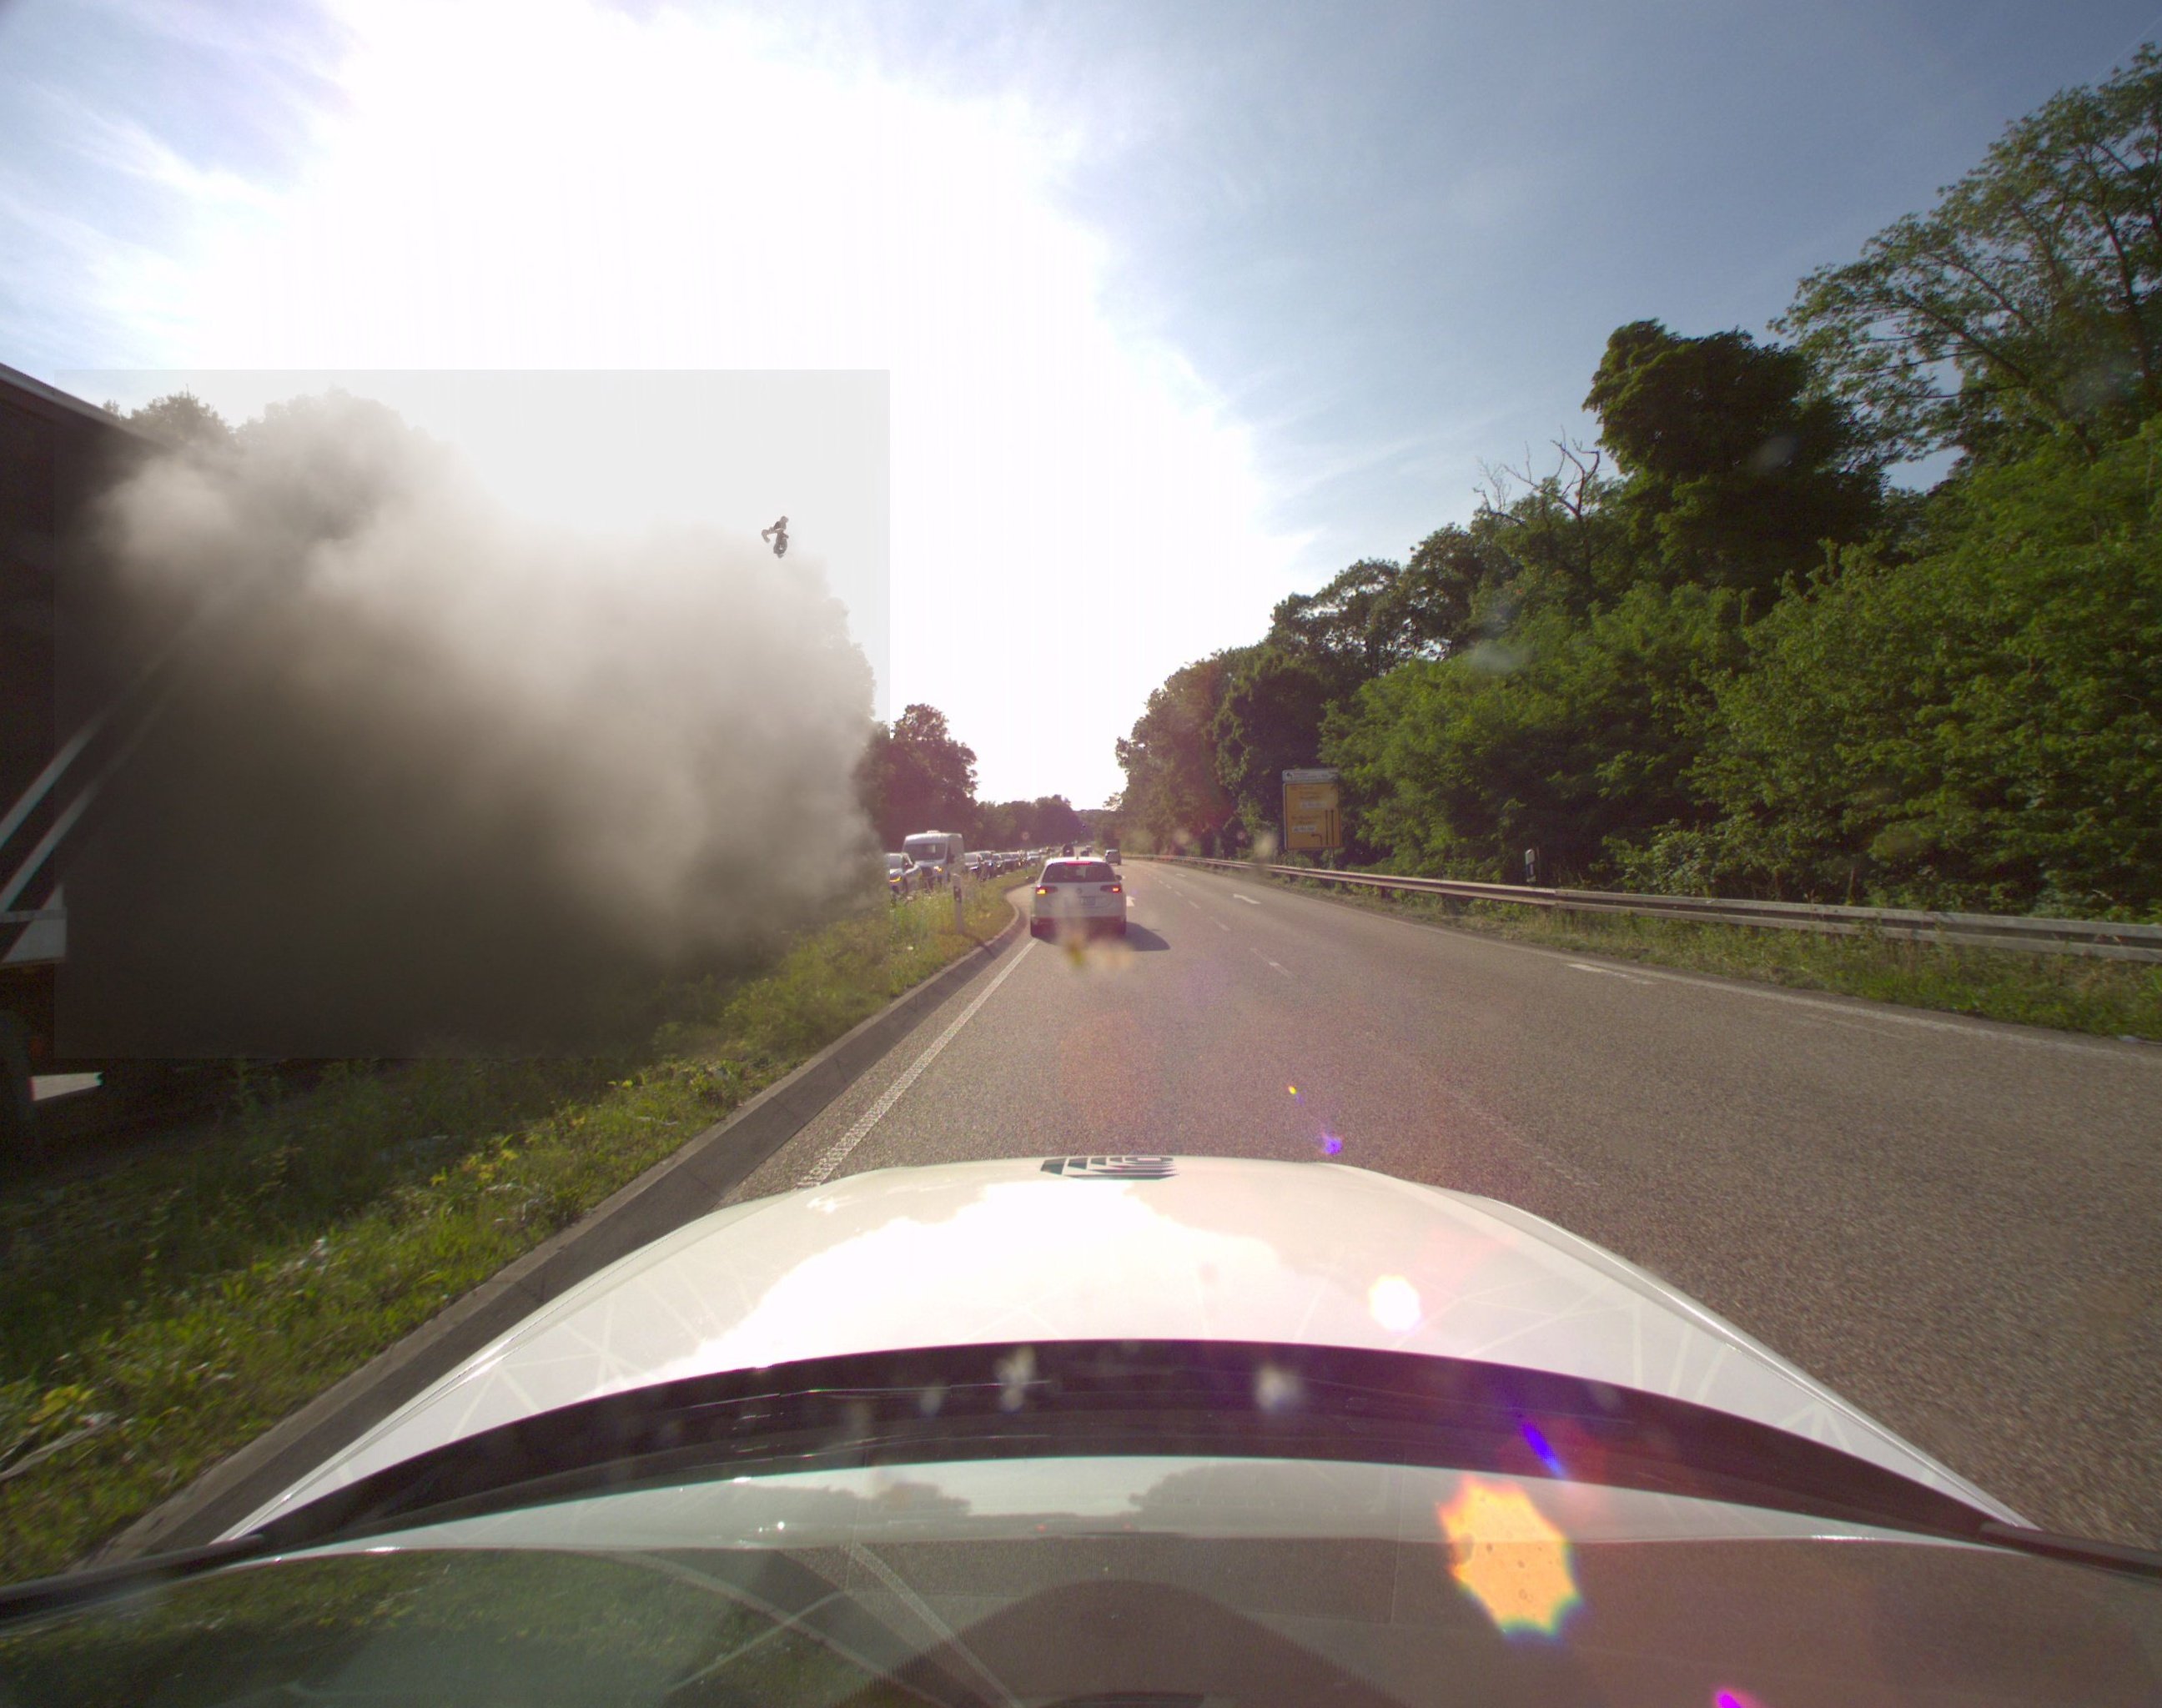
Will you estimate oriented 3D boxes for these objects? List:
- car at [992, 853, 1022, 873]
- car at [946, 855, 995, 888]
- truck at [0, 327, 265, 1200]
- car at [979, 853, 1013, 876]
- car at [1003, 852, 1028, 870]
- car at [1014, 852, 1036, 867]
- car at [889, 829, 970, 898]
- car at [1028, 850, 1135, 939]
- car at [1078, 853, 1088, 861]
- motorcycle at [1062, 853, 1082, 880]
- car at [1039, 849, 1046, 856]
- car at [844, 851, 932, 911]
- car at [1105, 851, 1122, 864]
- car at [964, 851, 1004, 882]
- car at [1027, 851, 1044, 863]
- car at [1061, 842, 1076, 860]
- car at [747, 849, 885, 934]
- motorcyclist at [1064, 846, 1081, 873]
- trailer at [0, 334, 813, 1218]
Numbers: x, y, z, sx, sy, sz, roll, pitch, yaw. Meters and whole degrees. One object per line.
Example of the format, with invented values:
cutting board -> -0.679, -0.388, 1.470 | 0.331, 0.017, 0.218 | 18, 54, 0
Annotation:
car -> -5.805, 0.661, 64.496 | 1.765, 1.423, 5.193 | -2, 1, 0
car -> -5.680, 0.864, 42.400 | 1.754, 1.456, 5.186 | -2, 1, 0
truck -> -6.352, -0.393, 1.544 | 2.882, 3.997, 6.719 | 0, 0, -1
car -> -5.947, 0.694, 57.214 | 1.765, 1.379, 4.843 | -2, 1, 0
car -> -5.719, 0.595, 71.496 | 1.701, 1.423, 4.212 | -2, 1, 0
car -> -5.713, 0.540, 83.413 | 1.761, 1.417, 4.434 | -2, 1, 0
car -> -6.153, 0.330, 33.852 | 2.068, 2.533, 6.164 | -2, 1, 0
car -> -0.031, 0.692, 16.651 | 1.864, 1.521, 4.832 | 0, 1, -1
car -> 0.438, 0.550, 159.128 | 1.741, 1.537, 3.921 | 0, 0, -4
motorcycle -> -0.498, 0.708, 47.655 | 0.905, 1.453, 2.690 | -4, 1, 2
car -> -9.154, -0.373, 193.252 | 1.784, 1.411, 4.223 | 0, 1, -2
car -> -6.067, 0.775, 26.142 | 1.695, 1.631, 4.745 | -2, 1, -1
car -> 3.564, 0.381, 90.269 | 1.755, 1.380, 3.973 | 0, 1, 1
car -> -5.808, 0.709, 49.199 | 1.765, 1.669, 4.800 | -2, 1, 0
car -> -5.659, 0.378, 102.118 | 1.861, 1.417, 4.416 | -2, 1, 0
car -> -2.068, -0.522, 138.998 | 2.202, 2.888, 7.011 | -2, 1, 0
car -> -5.865, 0.742, 18.571 | 1.695, 1.631, 4.369 | -2, 1, -1
motorcyclist -> -0.496, 0.313, 47.726 | 0.880, 1.616, 1.291 | 0, 0, 2
trailer -> -6.419, -0.396, 8.129 | 2.982, 3.995, 14.009 | 0, 1, -1
